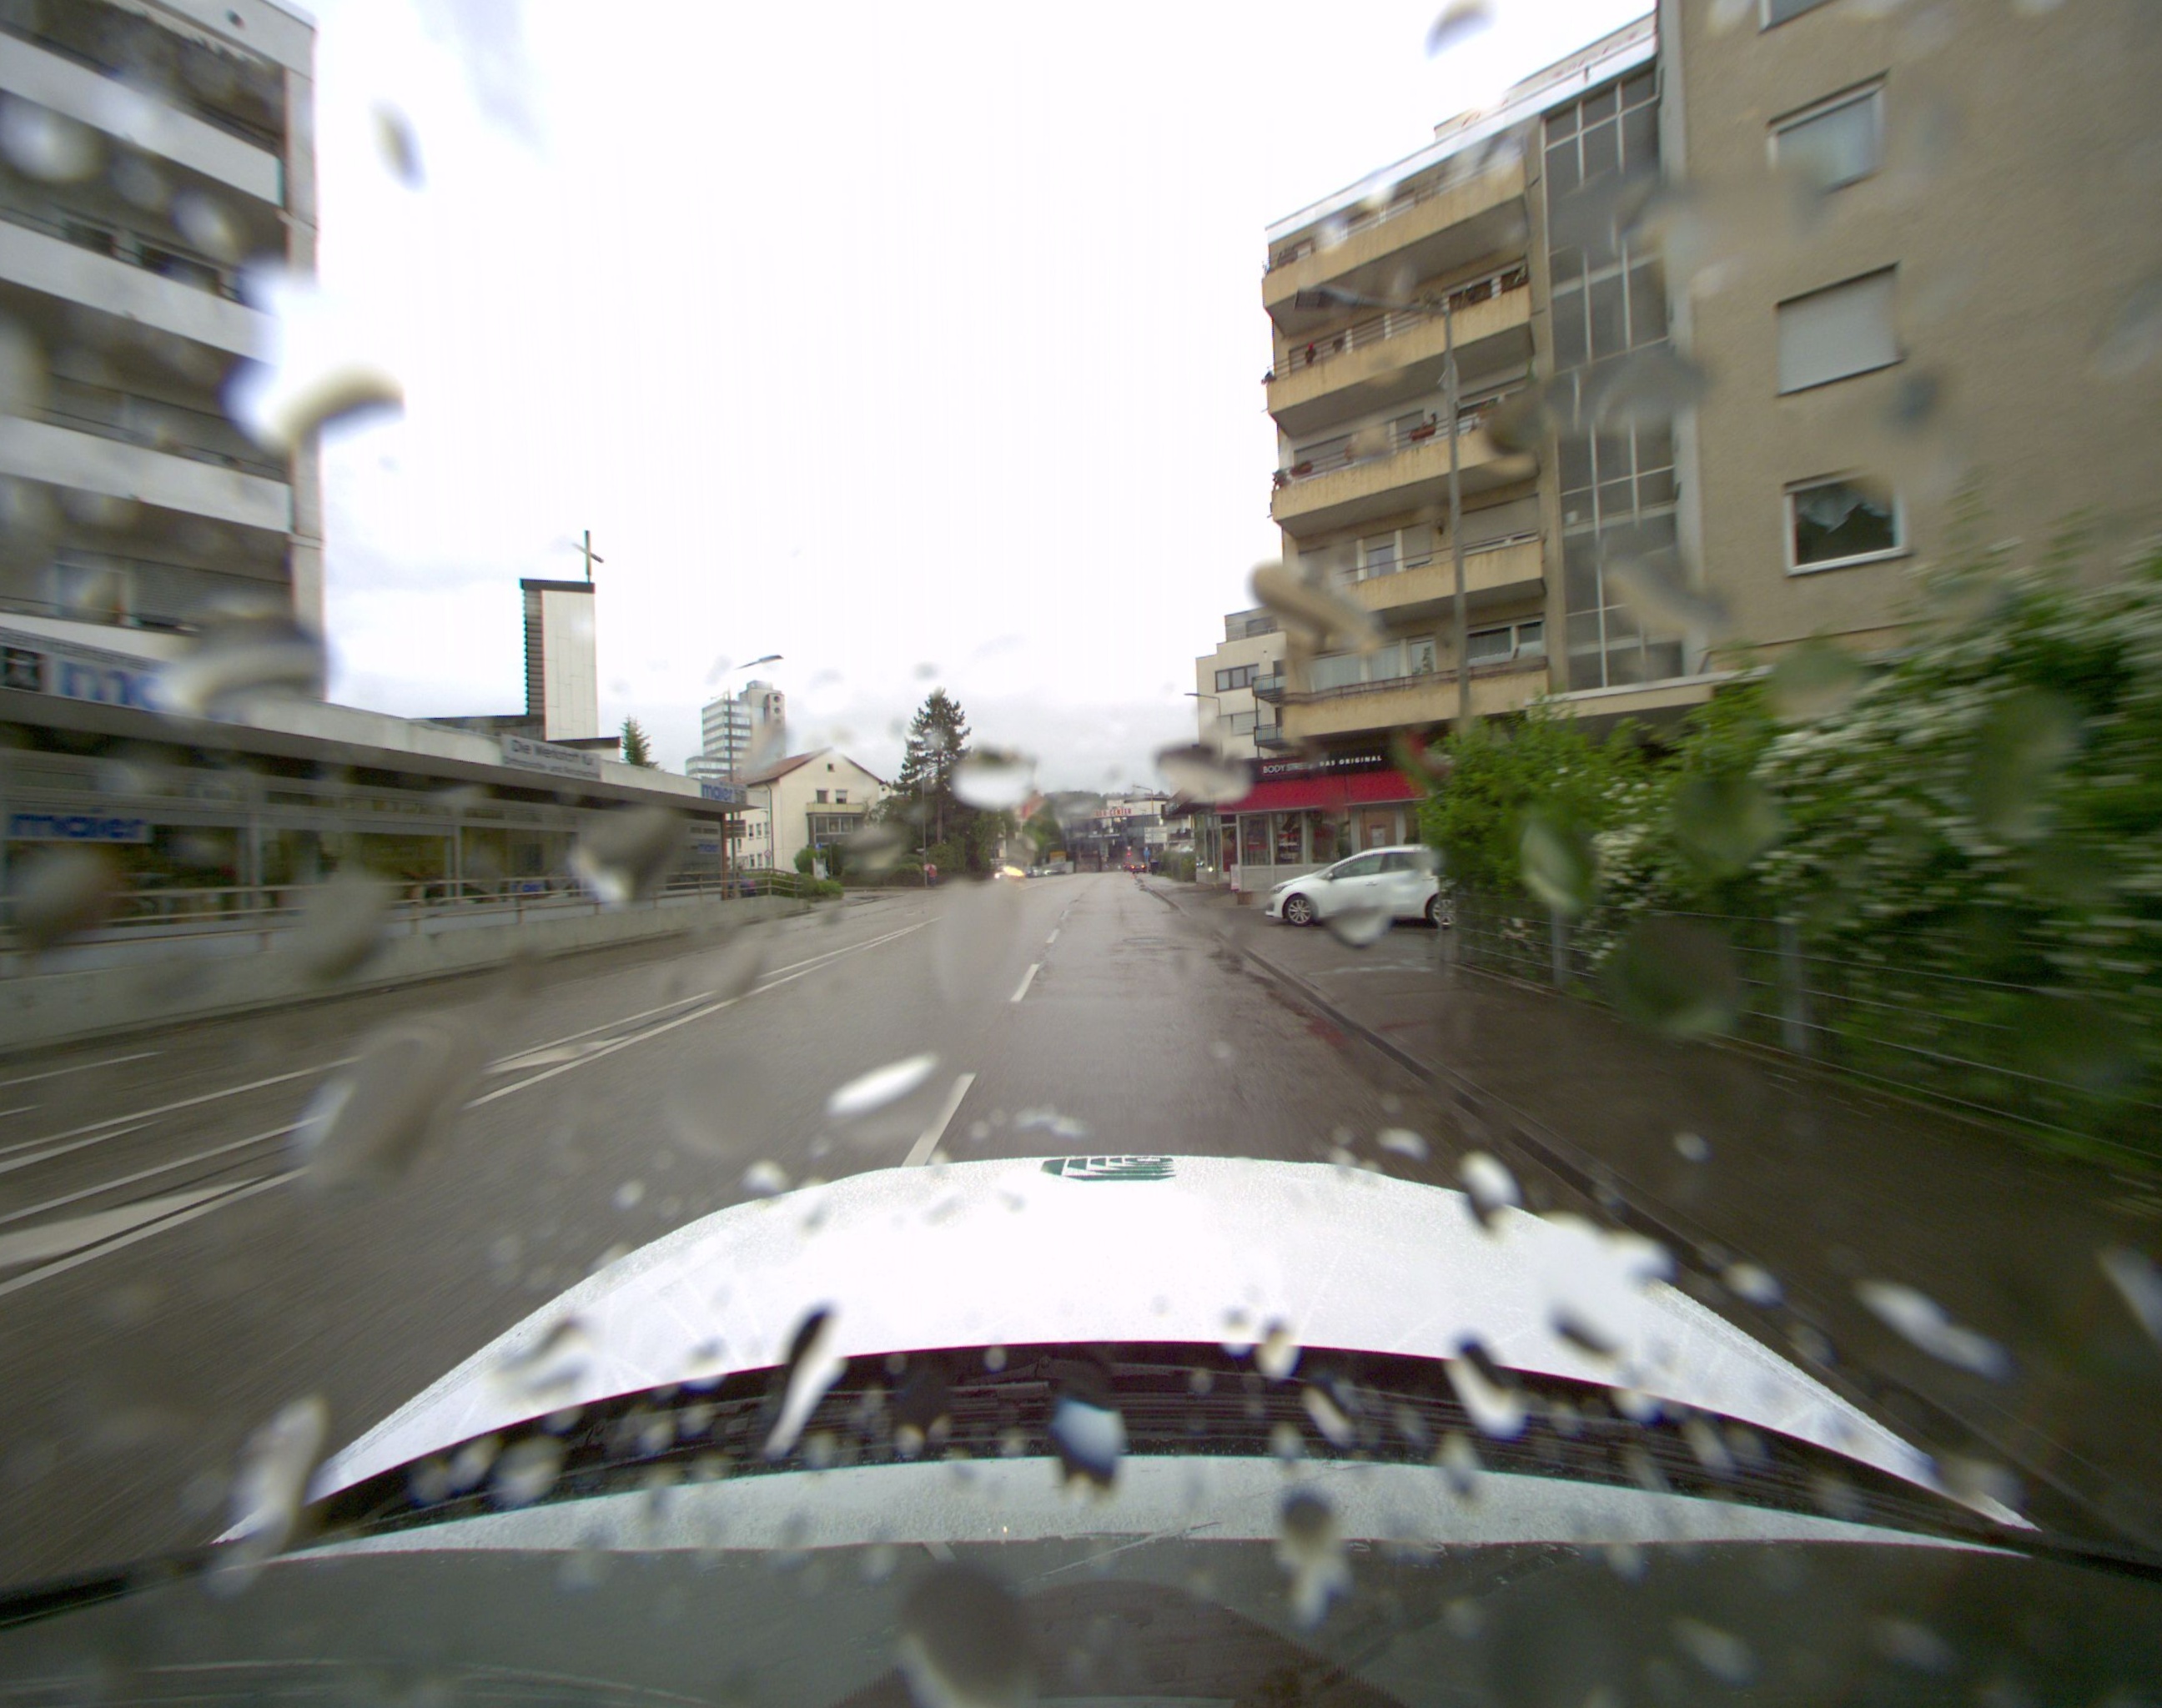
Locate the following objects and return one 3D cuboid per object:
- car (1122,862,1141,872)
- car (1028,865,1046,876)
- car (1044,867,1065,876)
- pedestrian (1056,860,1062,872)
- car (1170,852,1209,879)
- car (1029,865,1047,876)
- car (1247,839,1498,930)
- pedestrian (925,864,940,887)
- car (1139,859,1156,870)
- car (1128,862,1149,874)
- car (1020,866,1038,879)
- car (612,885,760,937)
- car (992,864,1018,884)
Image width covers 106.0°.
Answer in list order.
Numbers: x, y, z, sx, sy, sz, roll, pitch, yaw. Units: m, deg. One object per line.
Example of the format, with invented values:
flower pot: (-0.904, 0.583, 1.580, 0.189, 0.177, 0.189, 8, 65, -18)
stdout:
car: (8.068, 2.038, 129.971, 1.788, 1.419, 4.022, -3, -1, 23)
car: (-6.071, 2.287, 112.793, 1.685, 1.464, 4.690, -2, -1, 5)
car: (-5.202, 3.356, 158.860, 2.007, 1.512, 4.388, 1, 0, -33)
pedestrian: (-3.820, 2.061, 140.592, 0.741, 2.014, 0.926, 1, -1, 25)
car: (7.828, 0.804, 59.278, 1.988, 1.785, 4.687, -2, -1, -2)
car: (-6.174, 2.356, 117.958, 1.925, 1.542, 4.527, -2, -1, 5)
car: (5.599, 0.540, 15.809, 4.215, 1.494, 1.885, -1, 2, 34)
pedestrian: (-10.438, 1.500, 57.354, 0.868, 1.607, 1.101, -2, -2, -5)
car: (9.618, 1.519, 117.035, 1.686, 1.486, 4.014, -6, -2, 13)
car: (7.849, 1.865, 110.318, 1.979, 1.534, 4.664, -2, -2, 14)
car: (-6.842, 2.425, 106.672, 1.644, 1.521, 4.330, -2, -1, 5)
car: (-14.532, 2.032, 30.135, 1.975, 1.546, 4.498, -2, -1, 44)
car: (-6.339, 1.625, 68.313, 1.692, 1.409, 4.000, -5, 0, 0)
